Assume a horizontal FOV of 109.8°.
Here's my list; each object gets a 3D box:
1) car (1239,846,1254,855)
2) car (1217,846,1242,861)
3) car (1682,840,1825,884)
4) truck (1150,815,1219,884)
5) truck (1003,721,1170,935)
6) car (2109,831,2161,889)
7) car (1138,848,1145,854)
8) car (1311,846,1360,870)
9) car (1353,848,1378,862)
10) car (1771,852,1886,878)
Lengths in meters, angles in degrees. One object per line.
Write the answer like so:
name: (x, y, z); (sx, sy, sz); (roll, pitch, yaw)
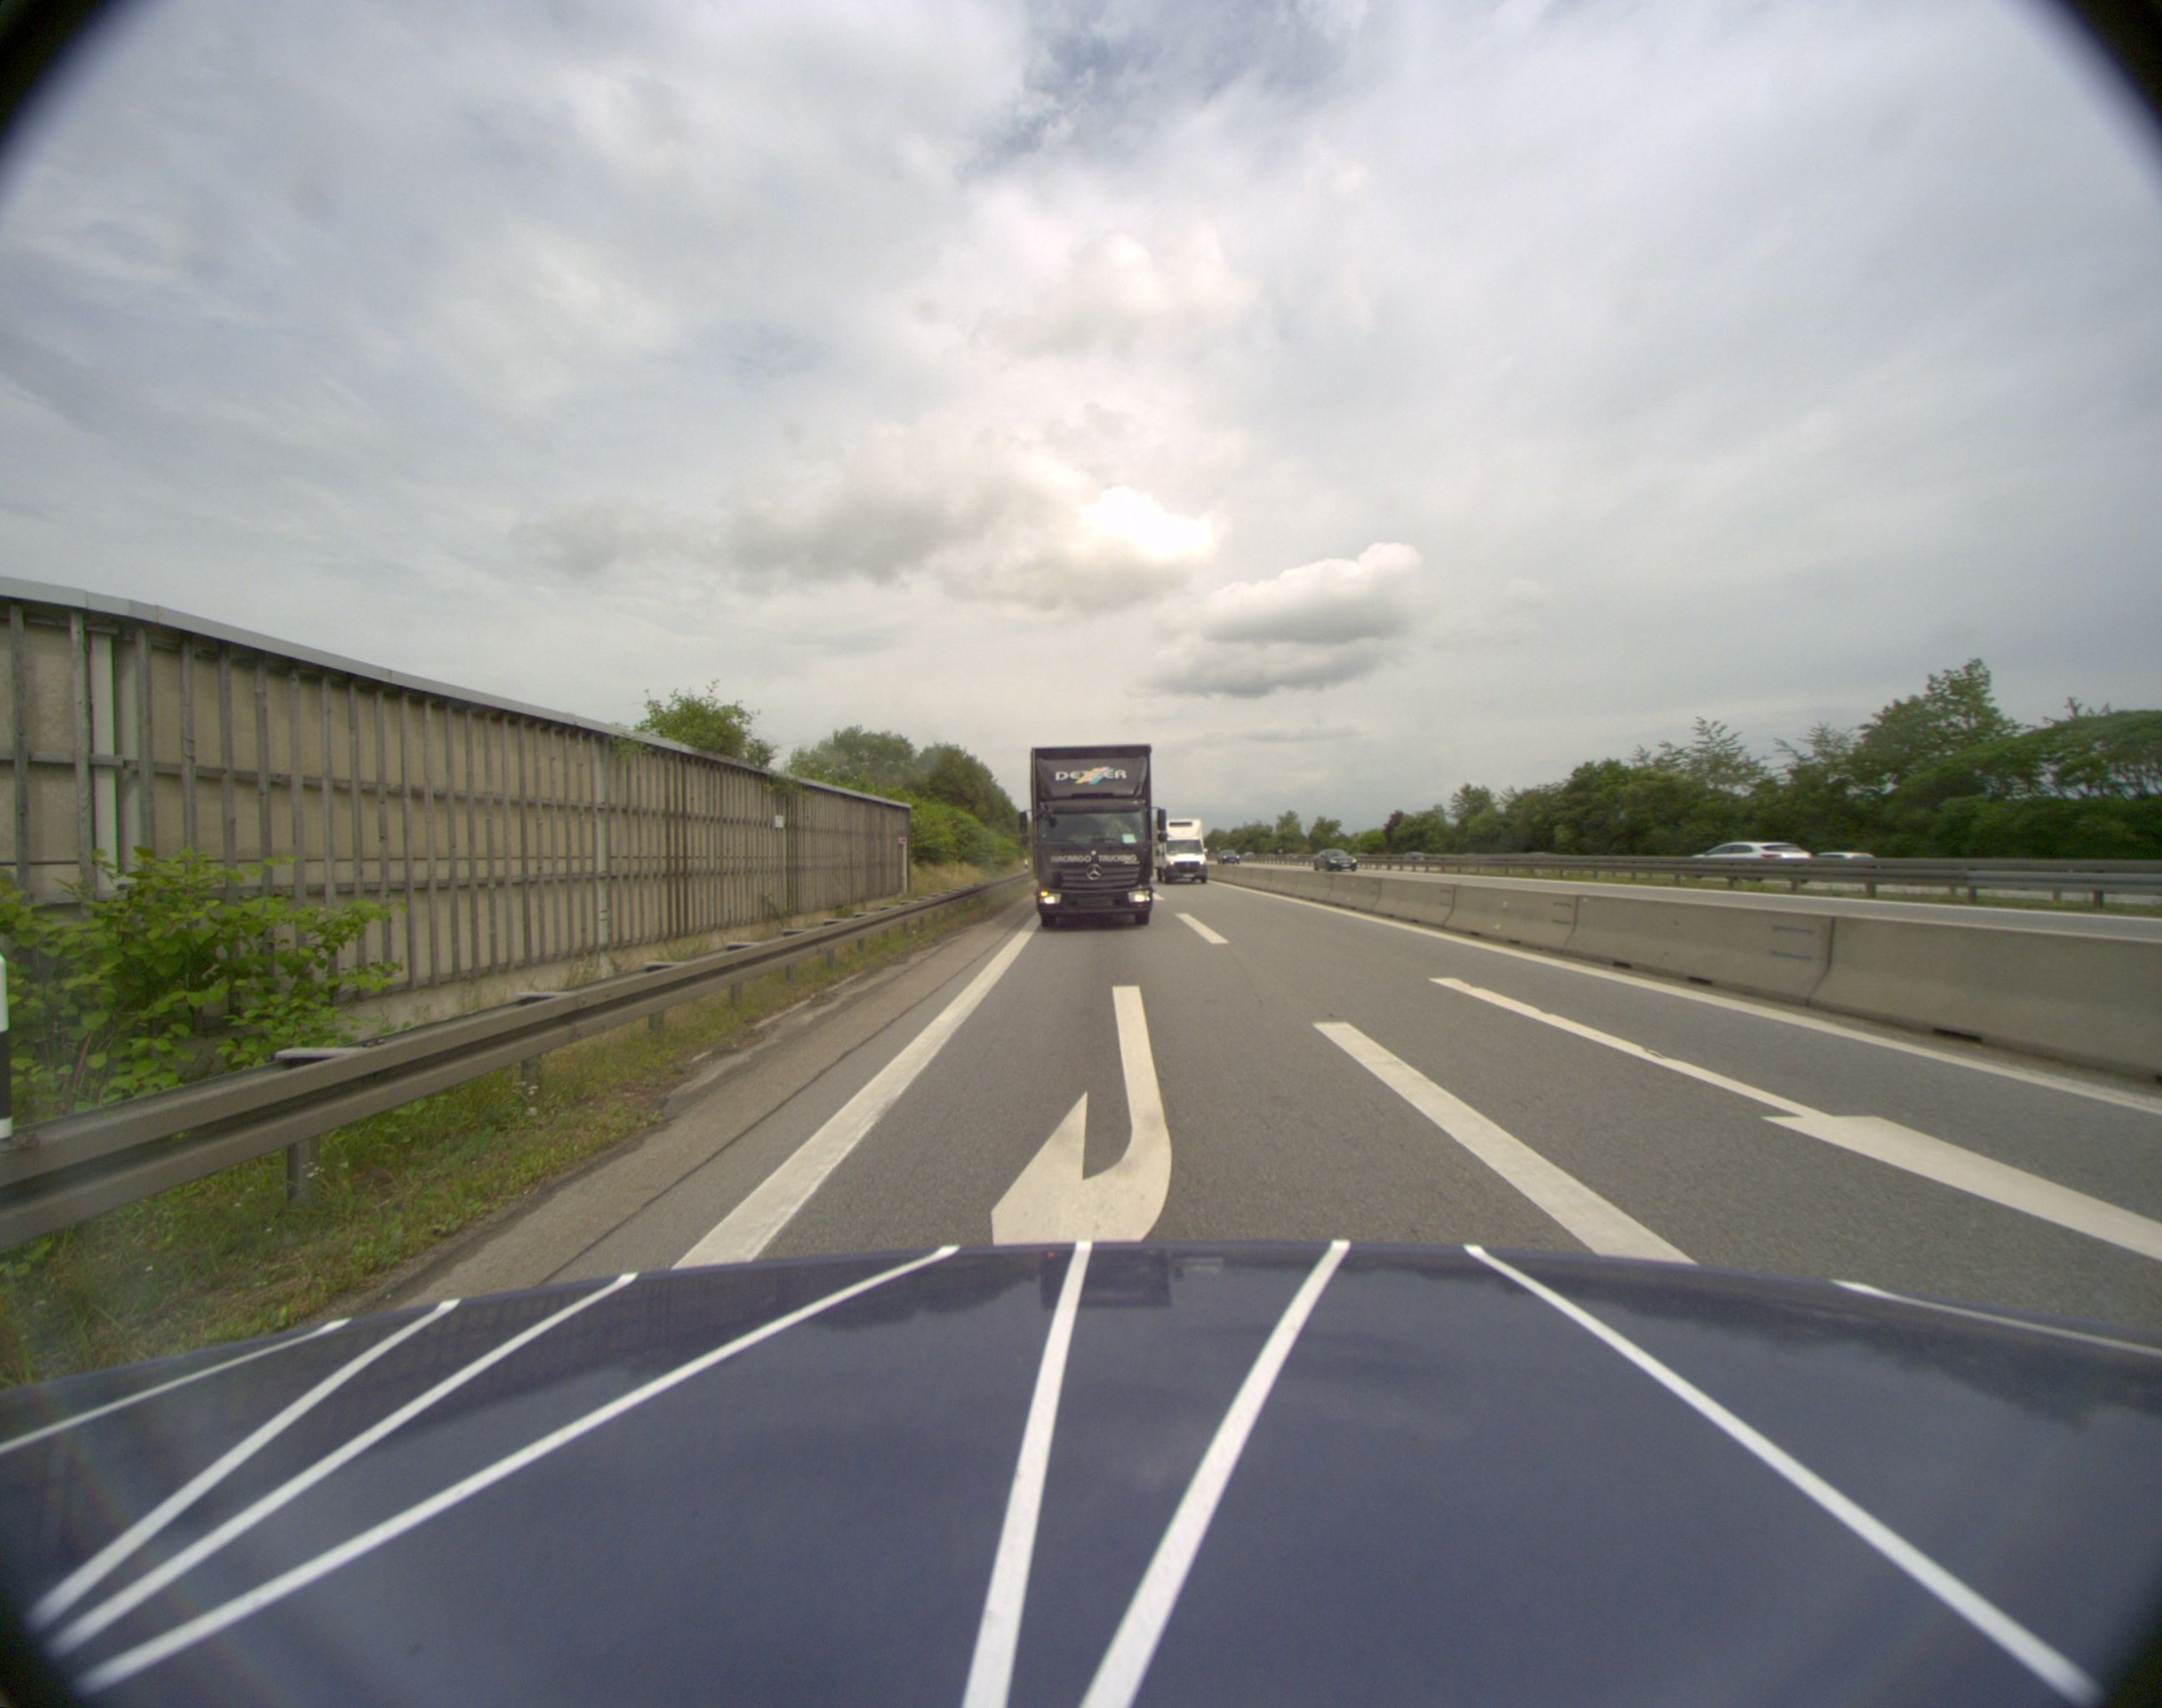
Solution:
car: (29.603, -0.625, 135.934); (1.737, 1.511, 3.718); (-1, 1, -2)
car: (16.746, -0.071, 86.060); (1.998, 1.652, 4.383); (-1, 0, 1)
car: (24.509, 0.261, 27.903); (1.691, 1.460, 4.004); (-2, 0, 0)
truck: (5.025, -0.233, 37.920); (2.410, 3.072, 6.368); (-2, 0, -1)
truck: (0.405, -0.514, 19.431); (3.023, 3.931, 10.342); (-2, 0, 3)
car: (28.443, 0.153, 18.395); (1.691, 1.460, 4.004); (-2, 0, 0)
car: (15.135, -0.699, 191.123); (1.684, 1.476, 3.775); (-1, 1, 6)
car: (16.465, 0.225, 49.376); (1.776, 1.441, 4.383); (-1, 0, 1)
car: (37.426, 0.174, 99.921); (1.691, 1.718, 3.999); (-2, 0, 0)
car: (36.532, 0.499, 37.299); (1.691, 1.185, 4.004); (-1, 0, 0)
